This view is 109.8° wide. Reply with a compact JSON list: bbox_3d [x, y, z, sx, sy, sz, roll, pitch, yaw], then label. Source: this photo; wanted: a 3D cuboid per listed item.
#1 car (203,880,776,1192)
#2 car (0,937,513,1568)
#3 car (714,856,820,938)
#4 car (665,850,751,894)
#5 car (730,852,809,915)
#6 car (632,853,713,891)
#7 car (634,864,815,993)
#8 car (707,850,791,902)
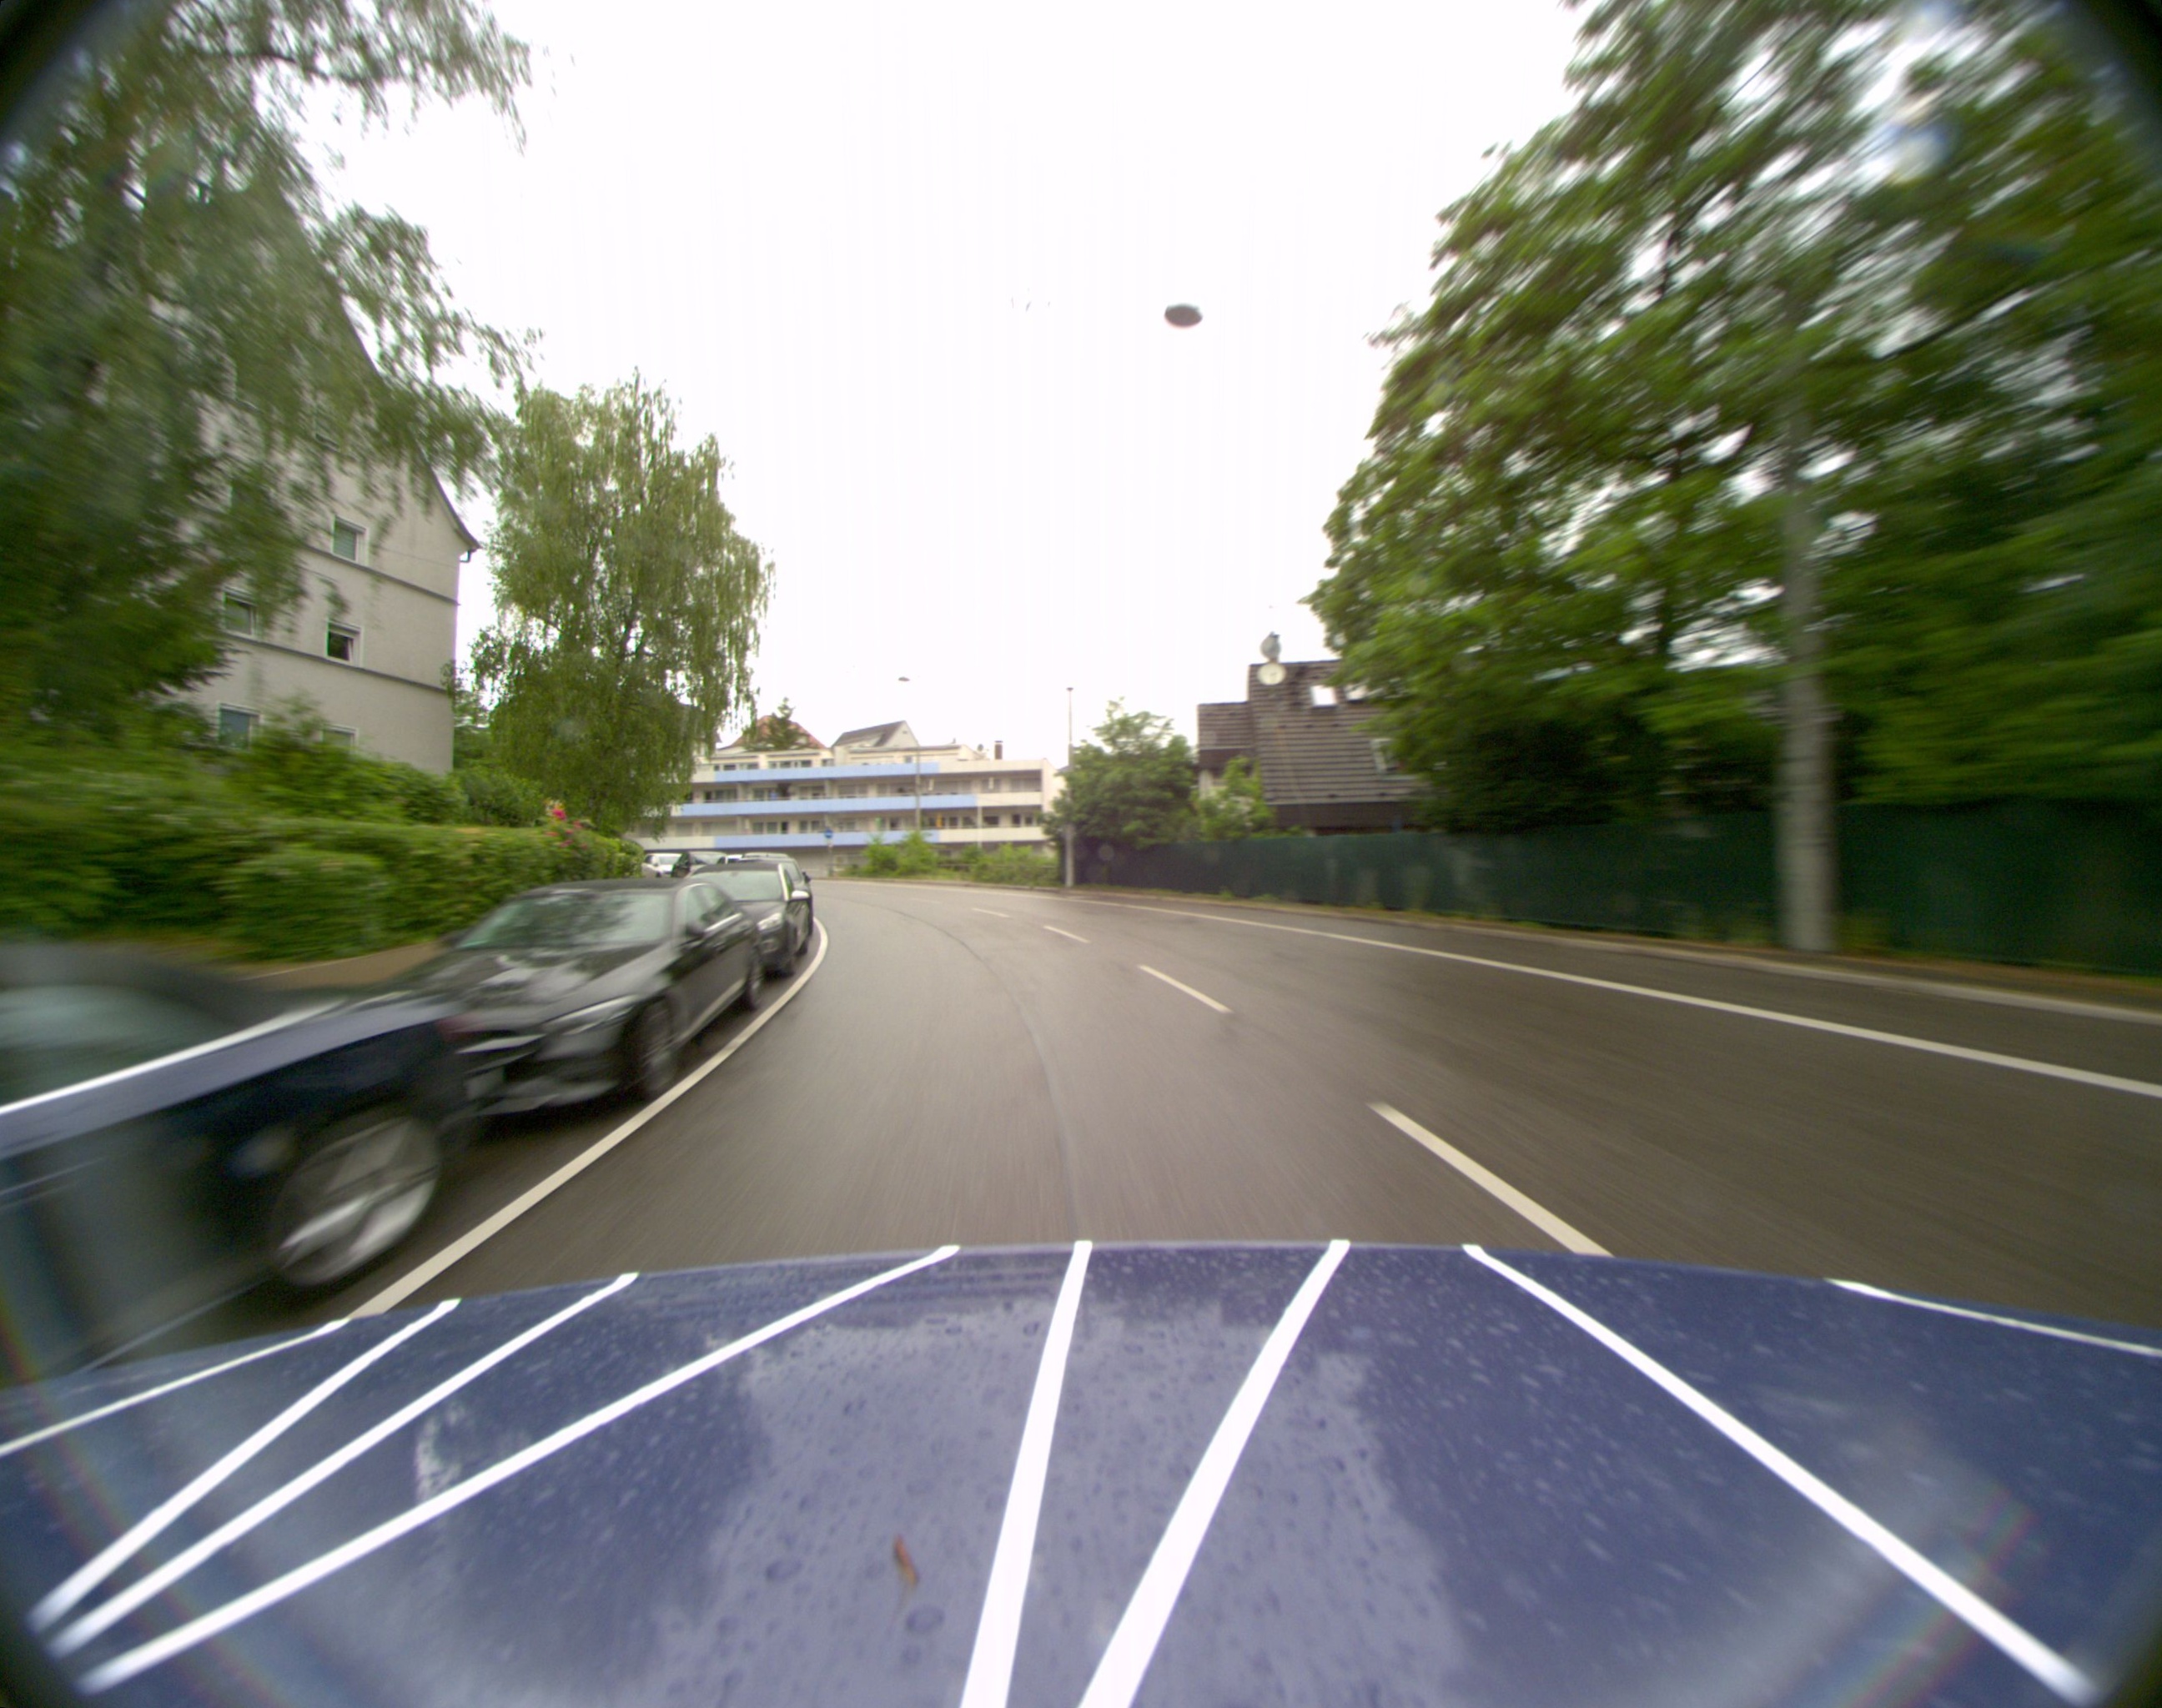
[{"bbox_3d":[-3.981,1.028,6.266,1.813,1.427,4.526,1,0,-10],"label":"car"},{"bbox_3d":[-3.552,1.084,1.320,1.812,1.340,4.618,1,0,-3],"label":"car"},{"bbox_3d":[-6.450,0.807,15.789,1.723,1.427,4.061,3,-1,-21],"label":"car"},{"bbox_3d":[-14.012,0.621,28.432,1.633,1.510,4.314,1,0,-44],"label":"car"},{"bbox_3d":[-8.424,0.747,20.375,1.628,1.496,3.597,3,-1,-27],"label":"car"},{"bbox_3d":[-17.309,0.712,32.106,4.093,1.438,1.799,2,1,44],"label":"car"},{"bbox_3d":[-4.820,0.932,10.799,1.689,1.462,3.734,3,-1,-16],"label":"car"},{"bbox_3d":[-10.741,0.667,24.436,1.735,1.455,4.020,3,-1,-34],"label":"car"}]
